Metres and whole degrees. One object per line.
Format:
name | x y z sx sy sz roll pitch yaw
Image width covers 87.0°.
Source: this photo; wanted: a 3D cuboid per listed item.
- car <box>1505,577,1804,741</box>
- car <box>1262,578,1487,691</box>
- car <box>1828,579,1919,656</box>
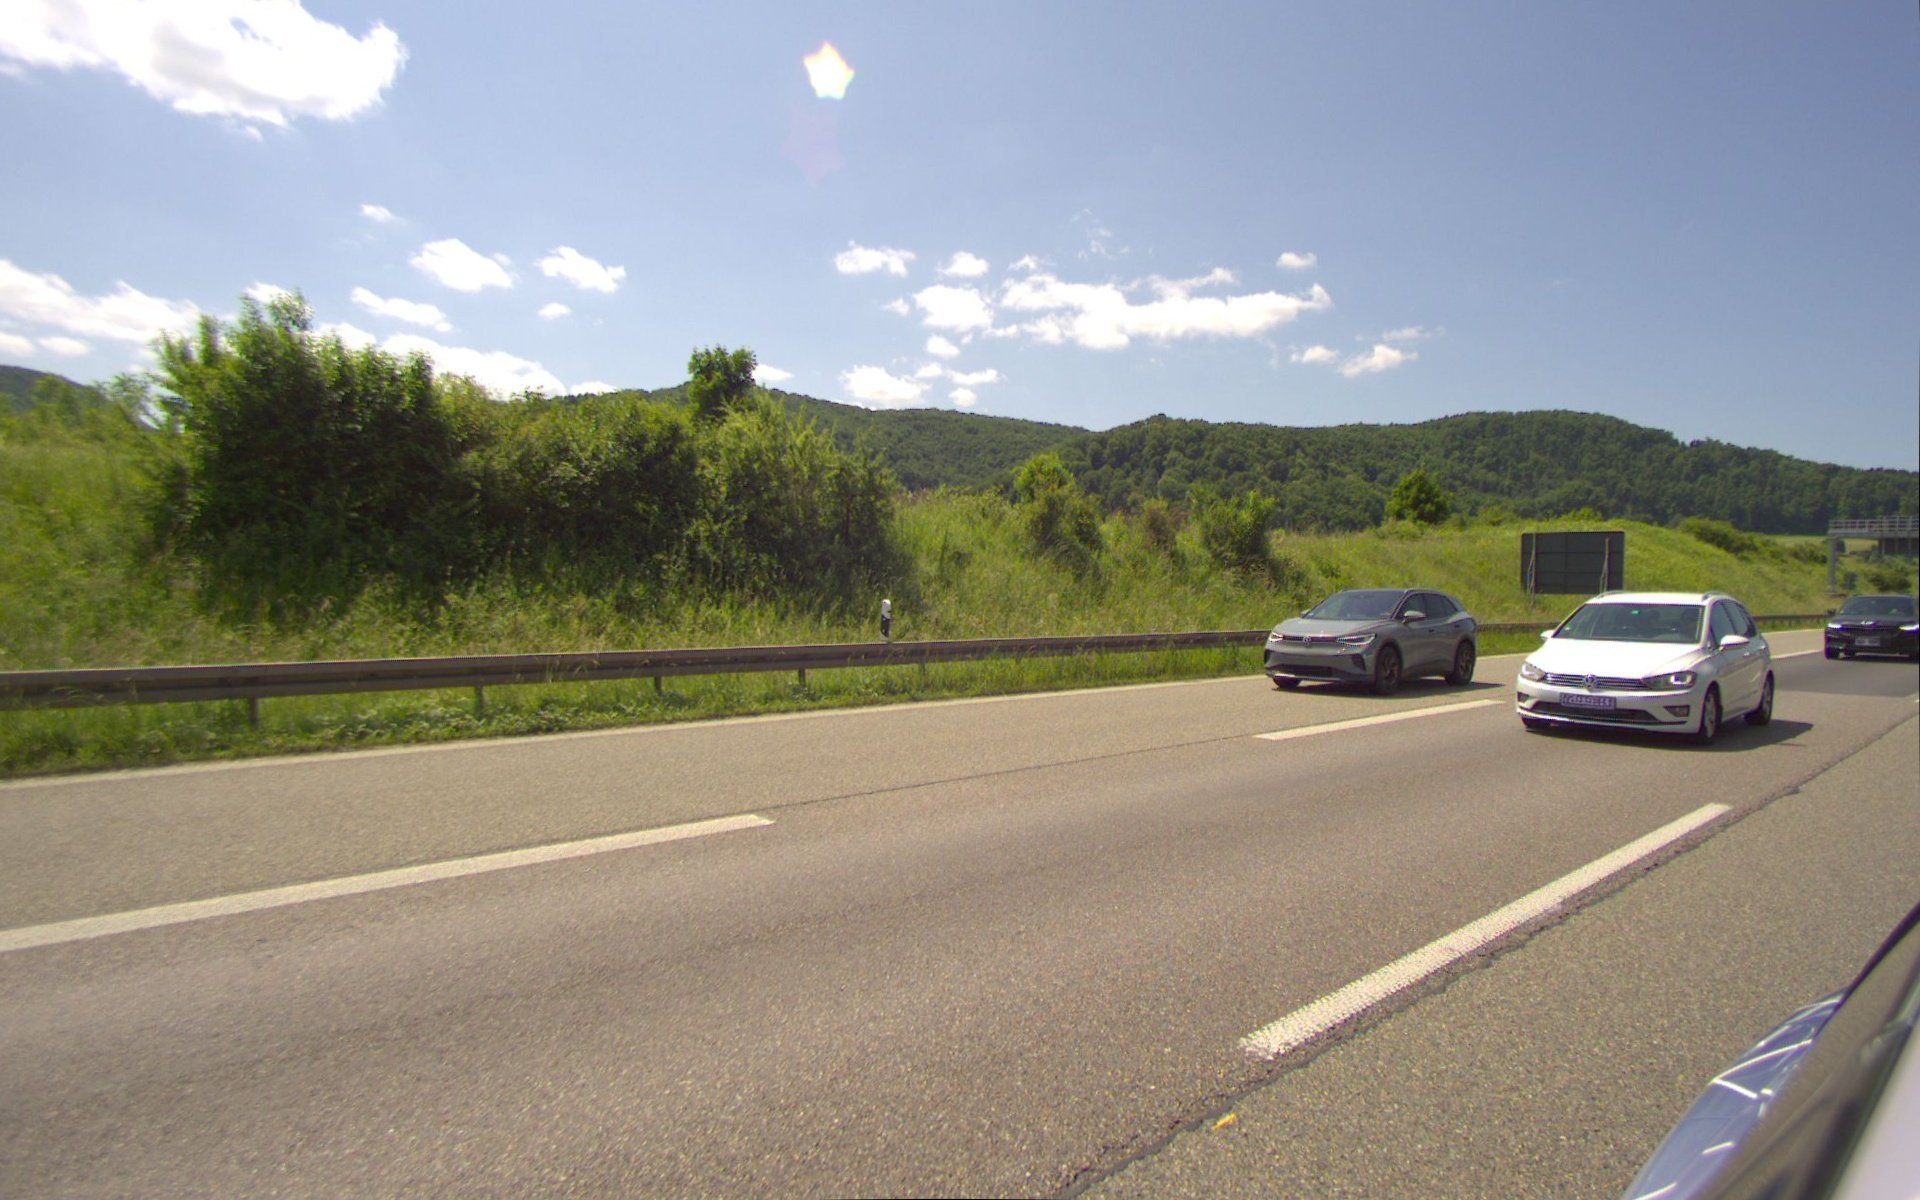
car | 8.010 0.543 11.551 3.981 1.560 1.777 0 1 -39
car | 6.802 0.473 16.424 4.174 1.615 1.682 0 1 -41
car | 23.572 0.401 25.492 4.097 1.794 1.893 0 1 -40
